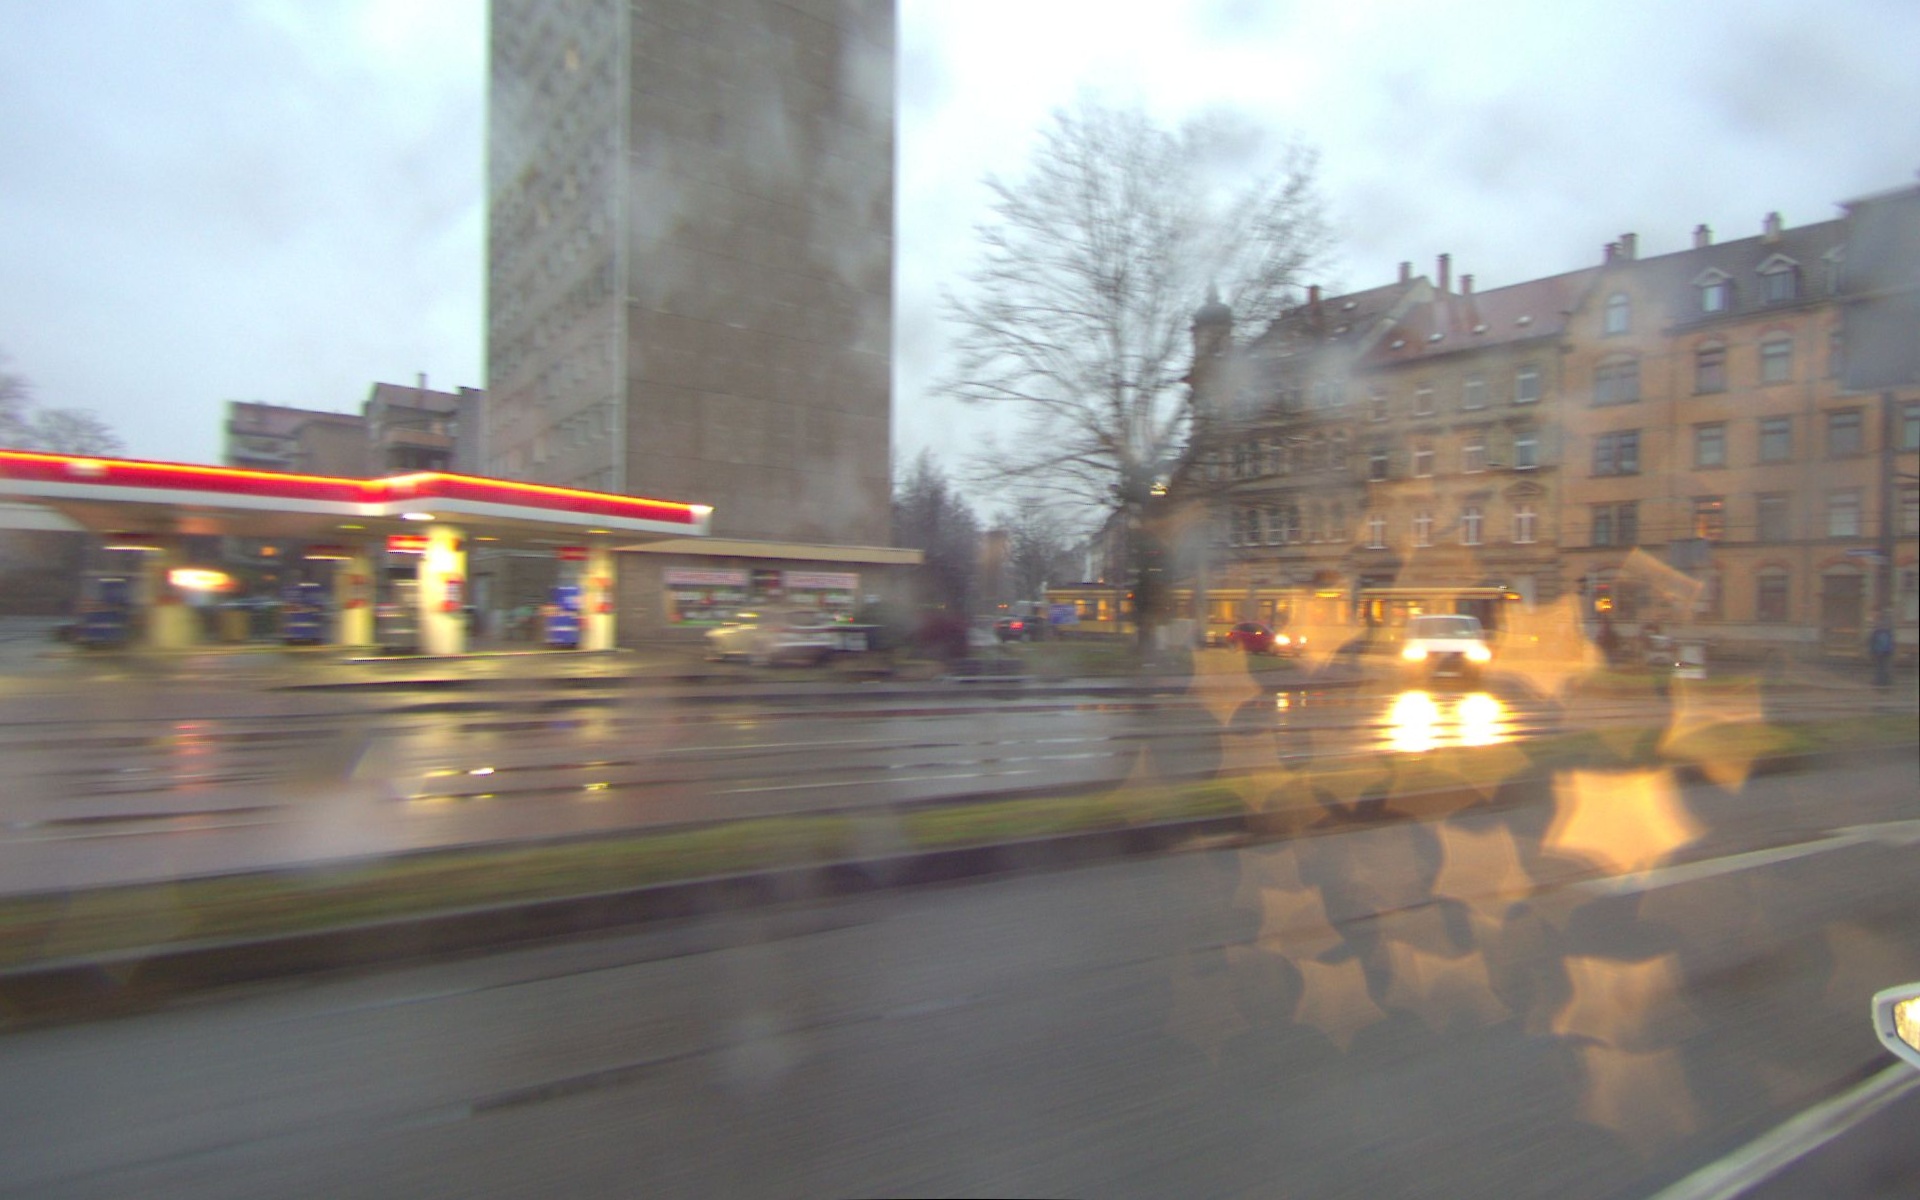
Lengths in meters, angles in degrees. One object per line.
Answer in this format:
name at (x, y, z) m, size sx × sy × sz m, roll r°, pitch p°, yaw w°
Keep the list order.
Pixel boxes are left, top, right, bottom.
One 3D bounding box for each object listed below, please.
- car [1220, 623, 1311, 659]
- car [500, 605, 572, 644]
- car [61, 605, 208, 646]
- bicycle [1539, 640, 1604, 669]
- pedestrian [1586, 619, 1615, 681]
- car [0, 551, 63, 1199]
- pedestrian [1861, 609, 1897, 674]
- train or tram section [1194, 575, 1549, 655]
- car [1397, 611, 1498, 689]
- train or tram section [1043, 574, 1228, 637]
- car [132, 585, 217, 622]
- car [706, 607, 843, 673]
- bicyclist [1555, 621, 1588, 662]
car at (13.701, 1.812, 45.205) m, size 1.630 × 1.469 × 3.819 m, roll 2°, pitch -1°, yaw -30°
car at (-17.863, 1.010, 42.233) m, size 1.981 × 1.550 × 3.960 m, roll 2°, pitch -1°, yaw -36°
car at (-29.544, 0.914, 36.130) m, size 3.963 × 1.399 × 1.942 m, roll 2°, pitch -1°, yaw -37°
bicycle at (21.865, 1.940, 35.936) m, size 1.949 × 0.912 × 0.505 m, roll 1°, pitch 0°, yaw 29°
pedestrian at (19.154, 1.480, 30.027) m, size 0.619 × 1.816 × 0.529 m, roll 1°, pitch 1°, yaw 44°
car at (-3.697, 0.620, 0.976) m, size 3.955 × 1.507 × 1.618 m, roll 1°, pitch -1°, yaw -32°
pedestrian at (25.743, 1.157, 28.142) m, size 0.618 × 1.795 × 0.467 m, roll 1°, pitch 0°, yaw -13°
train or tram section at (19.077, 0.509, 48.645) m, size 3.146 × 3.231 × 16.104 m, roll 1°, pitch 0°, yaw -42°
car at (13.499, 1.387, 28.082) m, size 1.961 × 1.971 × 4.856 m, roll -1°, pitch -3°, yaw 19°
train or tram section at (9.966, 0.216, 58.722) m, size 3.146 × 3.280 × 11.011 m, roll 1°, pitch 0°, yaw -42°
car at (-47.707, 0.234, 61.121) m, size 3.963 × 2.140 × 1.979 m, roll 2°, pitch -1°, yaw -37°
car at (-4.810, 0.966, 25.705) m, size 1.765 × 1.550 × 3.954 m, roll 1°, pitch -1°, yaw -40°
bicyclist at (21.876, 1.485, 35.930) m, size 0.951 × 1.409 × 0.505 m, roll 1°, pitch 0°, yaw 29°
